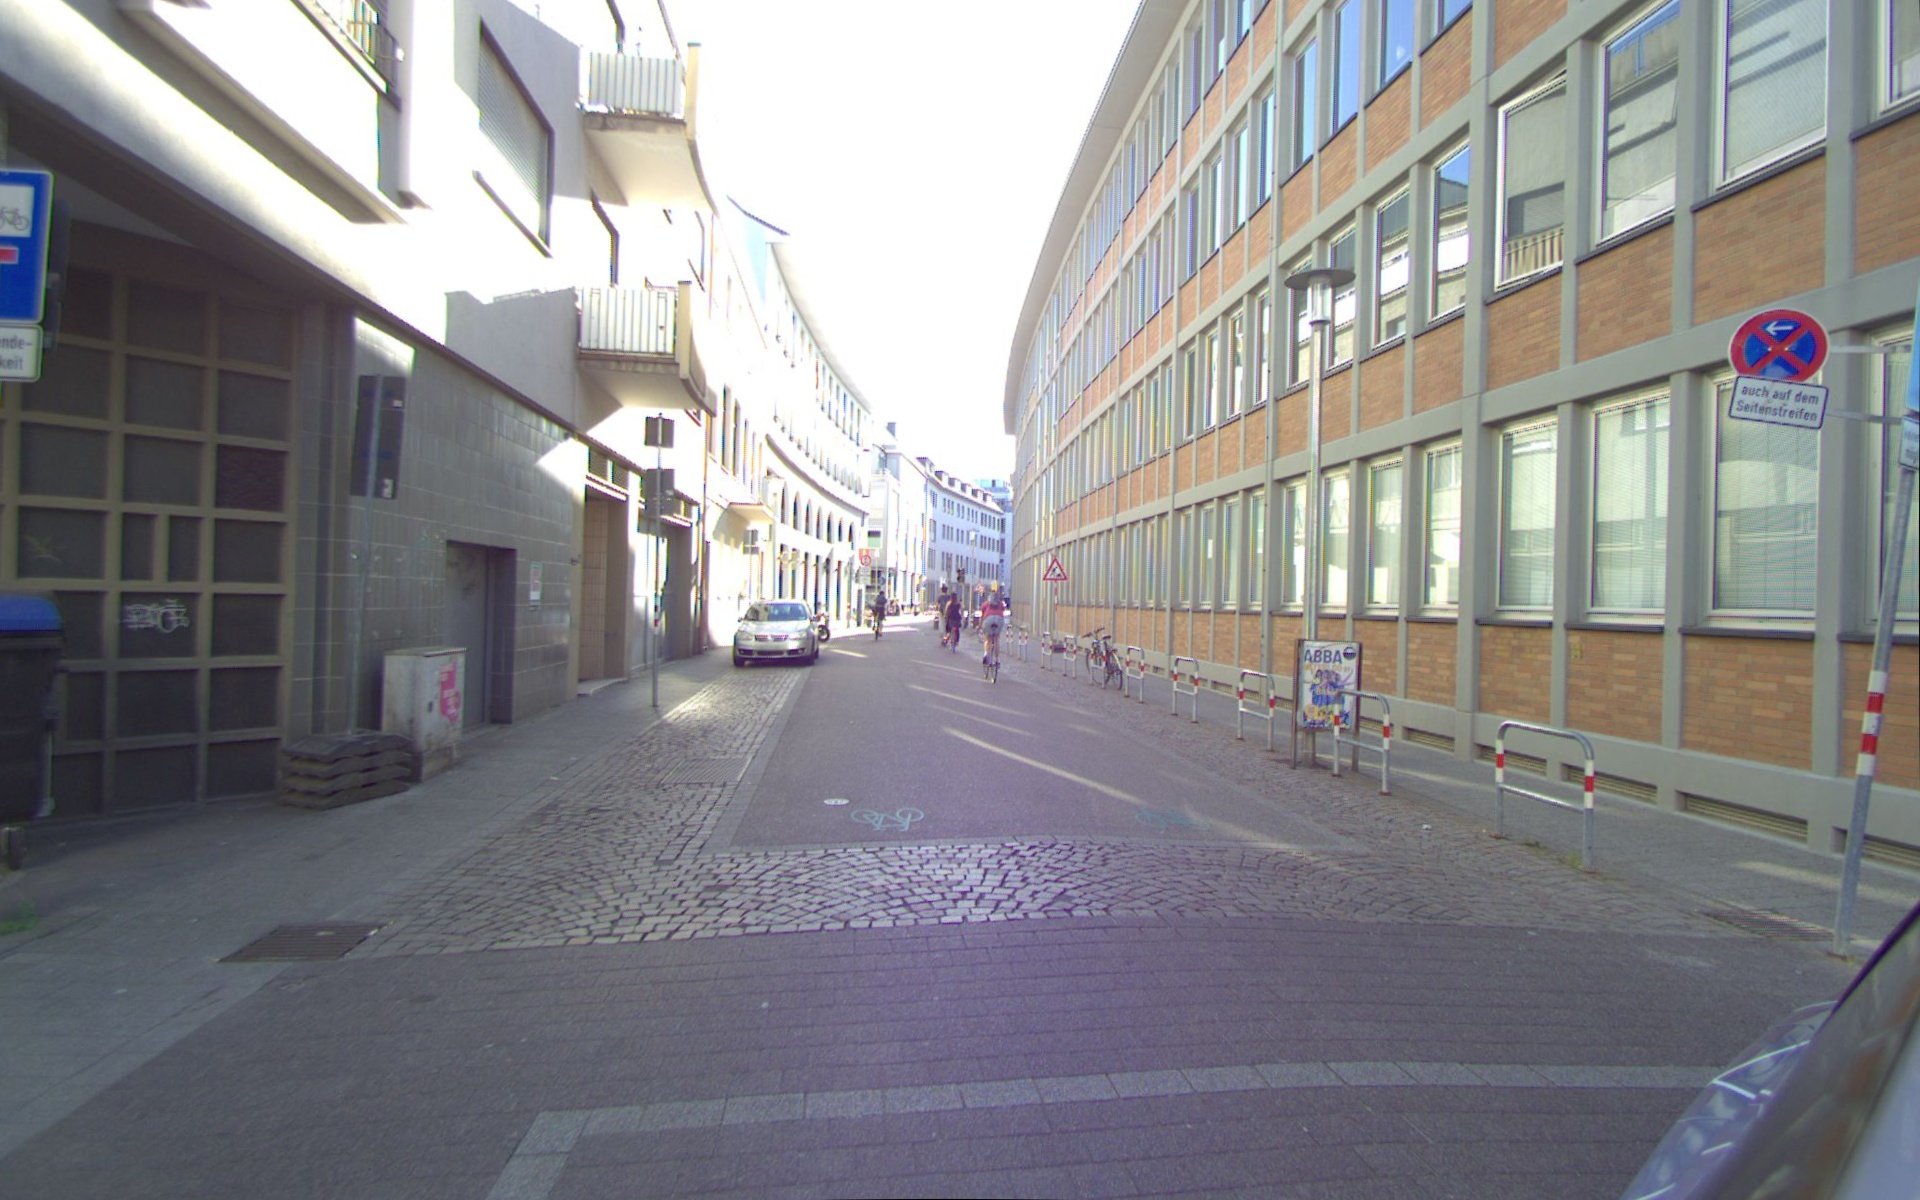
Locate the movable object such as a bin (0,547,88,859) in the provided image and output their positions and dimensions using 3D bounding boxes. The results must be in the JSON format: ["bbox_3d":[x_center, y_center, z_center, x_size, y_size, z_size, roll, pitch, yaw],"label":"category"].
[{"bbox_3d":[-5.567,0.507,5.332,1.150,1.609,1.273,3,1,39],"label":"movable object such as a bin"}]

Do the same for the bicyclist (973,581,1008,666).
[{"bbox_3d":[0.557,0.423,18.660,0.419,1.517,0.877,3,0,-7],"label":"bicyclist"}]

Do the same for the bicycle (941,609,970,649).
[{"bbox_3d":[-0.152,0.835,29.262,0.579,1.065,1.803,3,0,-7],"label":"bicycle"}]

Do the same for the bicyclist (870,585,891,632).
[{"bbox_3d":[-2.729,0.274,34.606,0.636,1.578,1.111,1,0,-7],"label":"bicyclist"}]

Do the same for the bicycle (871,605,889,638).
[{"bbox_3d":[-2.731,0.712,34.532,0.562,1.064,1.838,1,0,-6],"label":"bicycle"}]

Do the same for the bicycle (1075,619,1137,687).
[{"bbox_3d":[2.646,0.939,18.535,0.625,1.130,1.933,1,0,-7],"label":"bicycle"}]

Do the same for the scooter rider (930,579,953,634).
[{"bbox_3d":[-0.599,0.207,32.890,0.636,1.747,0.703,1,1,-6],"label":"scooter rider"}]

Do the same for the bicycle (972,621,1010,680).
[{"bbox_3d":[0.552,0.908,18.640,0.427,0.969,1.593,3,0,-6],"label":"bicycle"}]

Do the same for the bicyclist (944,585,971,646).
[{"bbox_3d":[-0.081,0.438,29.159,0.607,1.687,0.825,4,0,-6],"label":"bicyclist"}]

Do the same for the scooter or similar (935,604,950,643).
[{"bbox_3d":[-0.574,0.750,32.881,0.330,1.200,1.281,3,1,-5],"label":"scooter or similar"}]

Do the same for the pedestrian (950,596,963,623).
[{"bbox_3d":[-0.214,0.527,56.639,0.646,1.459,0.596,1,0,-4],"label":"pedestrian"}]

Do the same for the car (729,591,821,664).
[{"bbox_3d":[-4.101,0.561,22.952,1.735,1.489,3.817,-1,1,-5],"label":"car"}]
